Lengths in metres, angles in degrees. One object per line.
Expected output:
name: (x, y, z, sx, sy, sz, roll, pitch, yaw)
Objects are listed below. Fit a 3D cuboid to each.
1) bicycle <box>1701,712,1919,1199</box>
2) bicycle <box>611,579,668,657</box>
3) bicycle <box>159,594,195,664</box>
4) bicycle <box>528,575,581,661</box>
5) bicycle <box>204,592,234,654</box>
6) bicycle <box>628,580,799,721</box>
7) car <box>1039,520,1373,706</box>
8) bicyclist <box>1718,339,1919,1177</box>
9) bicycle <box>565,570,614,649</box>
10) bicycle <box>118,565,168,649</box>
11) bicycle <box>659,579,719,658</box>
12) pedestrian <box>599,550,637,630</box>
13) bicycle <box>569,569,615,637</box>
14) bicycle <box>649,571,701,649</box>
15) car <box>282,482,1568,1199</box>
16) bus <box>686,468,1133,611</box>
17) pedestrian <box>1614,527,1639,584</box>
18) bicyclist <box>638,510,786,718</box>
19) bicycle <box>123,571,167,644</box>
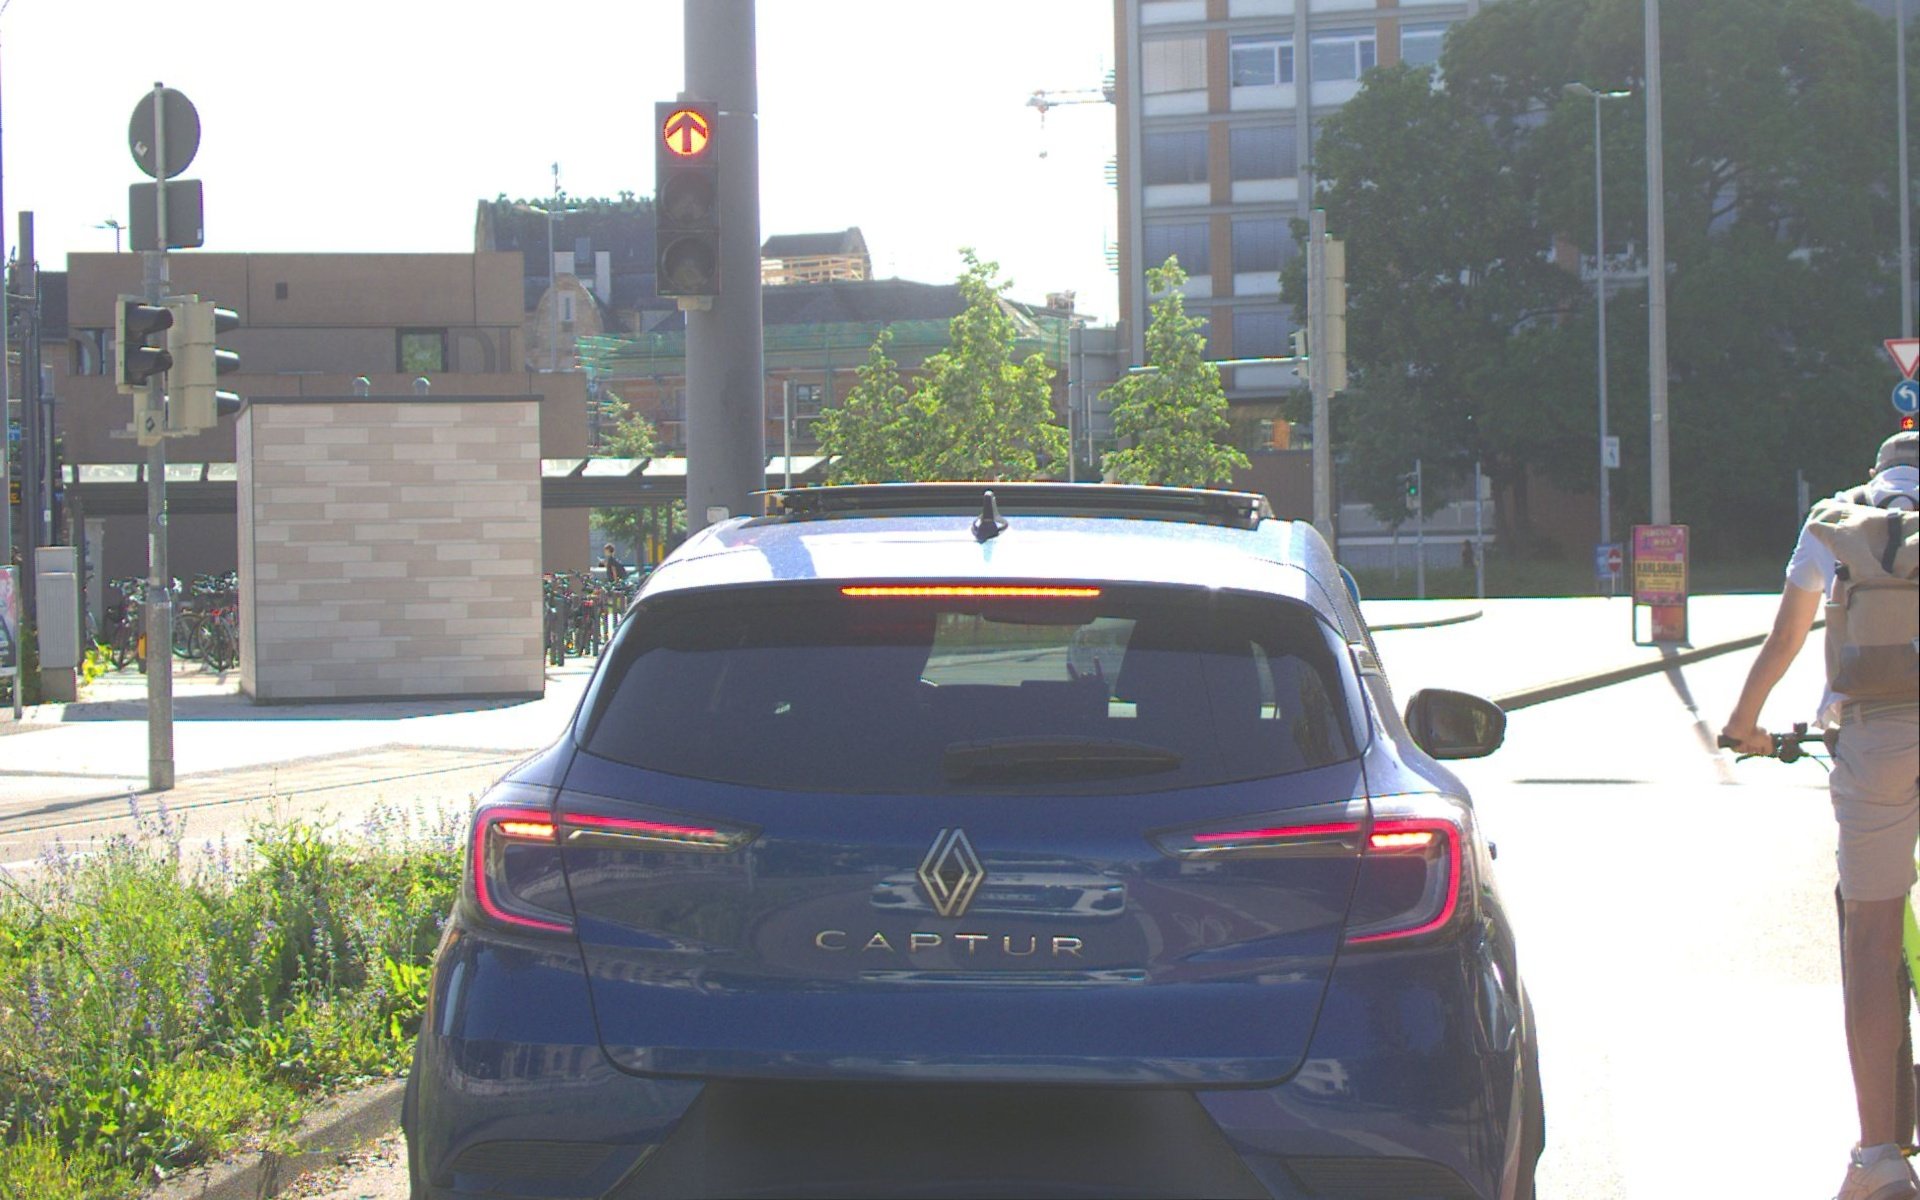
bicycle: (2.088, 0.833, 7.676, 0.663, 1.043, 1.890, 0, 2, 6)
bicycle: (-4.022, 0.228, 43.048, 0.580, 0.958, 2.059, 0, 0, -9)
bicycle: (-10.856, 0.398, 47.644, 0.421, 0.934, 1.306, 1, 0, -15)
bicycle: (-5.039, 0.223, 42.672, 0.580, 1.054, 1.817, 0, 0, -9)
bicycle: (-11.355, 0.345, 52.666, 0.421, 0.934, 1.379, 1, 0, -11)
bicycle: (-1.990, 0.394, 28.028, 0.773, 1.077, 2.034, -1, 0, 14)
car: (2.239, 0.073, 30.179, 1.802, 1.388, 4.089, -1, 3, 21)
bicyclist: (2.078, 0.320, 7.635, 0.664, 1.741, 1.005, 0, 1, 7)
bicycle: (-5.262, 0.138, 48.707, 0.580, 1.084, 2.059, 0, 0, -9)
bicycle: (-10.905, 0.093, 45.921, 0.565, 1.090, 2.030, 0, 0, -11)
bicycle: (-3.410, 0.230, 43.135, 0.580, 0.958, 2.059, 0, 0, -9)
pedestrian: (-7.954, -0.229, 80.024, 0.726, 1.850, 0.702, 0, 0, 8)
bicycle: (-6.025, 0.050, 56.181, 0.580, 1.084, 1.872, 0, 0, -11)
bicycle: (-4.053, 0.142, 48.778, 0.580, 1.084, 2.059, 0, 0, -9)
car: (0.097, 0.606, 6.697, 1.823, 1.594, 3.658, 1, 1, 5)
bus: (-1.460, -1.434, 86.859, 12.434, 3.384, 2.876, 0, 0, 40)
pedestrian: (19.393, -1.293, 100.074, 0.561, 1.664, 0.475, 0, -1, 37)
bicyclist: (-2.014, 0.109, 28.031, 0.880, 1.639, 1.060, -1, 0, 14)
bicycle: (-12.378, 0.118, 52.231, 0.565, 1.090, 2.030, 0, 0, -11)
